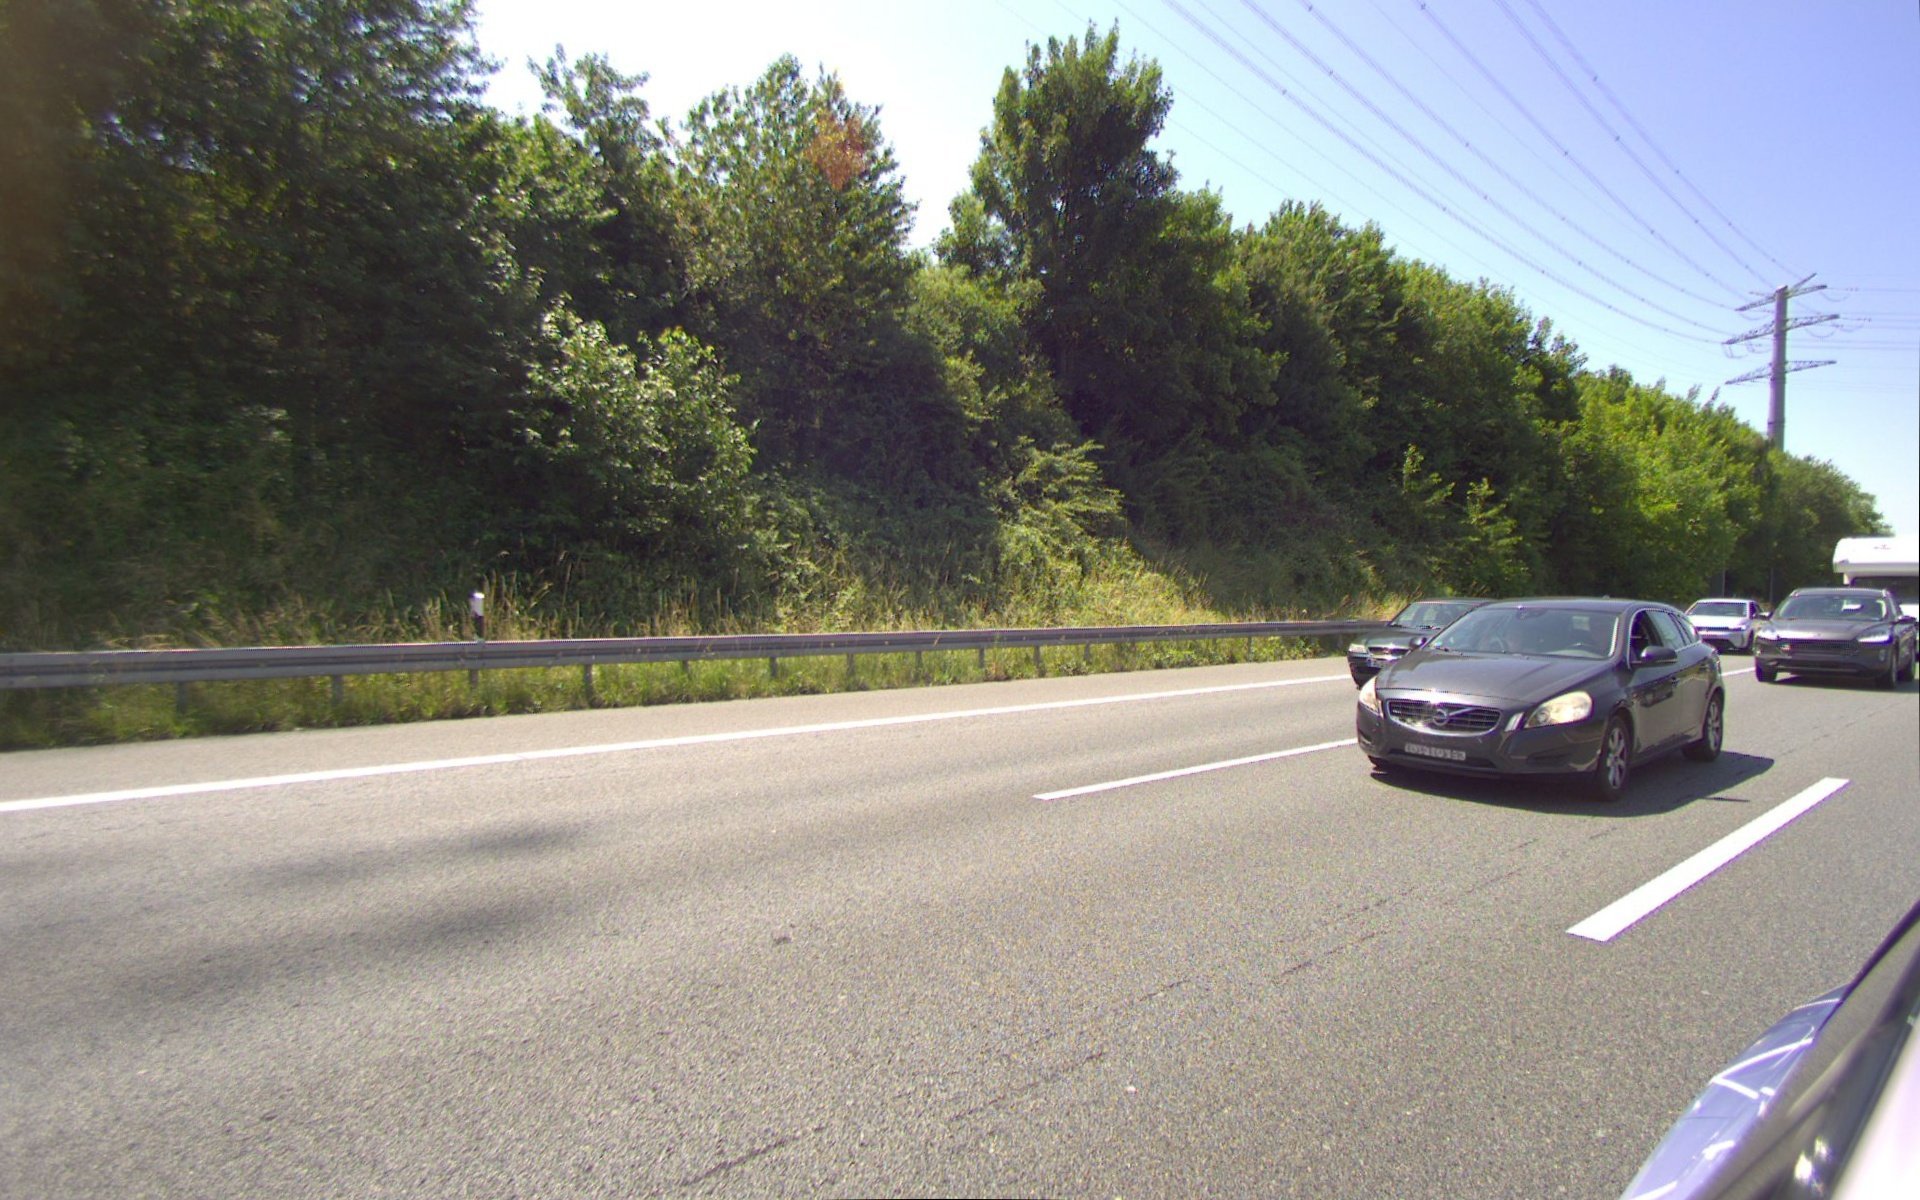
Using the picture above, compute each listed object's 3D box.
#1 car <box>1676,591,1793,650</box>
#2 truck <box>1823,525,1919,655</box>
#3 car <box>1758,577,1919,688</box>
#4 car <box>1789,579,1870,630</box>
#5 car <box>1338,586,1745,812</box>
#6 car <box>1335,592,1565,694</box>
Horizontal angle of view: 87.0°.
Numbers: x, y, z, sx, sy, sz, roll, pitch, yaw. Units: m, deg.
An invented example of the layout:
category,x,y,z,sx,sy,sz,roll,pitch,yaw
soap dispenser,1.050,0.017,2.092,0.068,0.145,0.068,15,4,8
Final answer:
category,x,y,z,sx,sy,sz,roll,pitch,yaw
car,21.084,0.507,27.502,3.943,1.488,1.744,0,1,-40
truck,25.956,-0.279,27.231,9.720,3.053,2.513,-1,0,-39
car,15.721,0.478,17.833,4.308,1.724,1.890,-1,1,-42
car,35.112,0.144,40.816,4.616,1.928,1.787,-1,0,-41
car,5.087,0.614,8.604,4.158,1.455,1.799,-1,1,-42
car,7.877,0.579,16.110,4.226,1.395,1.738,-1,0,-40
